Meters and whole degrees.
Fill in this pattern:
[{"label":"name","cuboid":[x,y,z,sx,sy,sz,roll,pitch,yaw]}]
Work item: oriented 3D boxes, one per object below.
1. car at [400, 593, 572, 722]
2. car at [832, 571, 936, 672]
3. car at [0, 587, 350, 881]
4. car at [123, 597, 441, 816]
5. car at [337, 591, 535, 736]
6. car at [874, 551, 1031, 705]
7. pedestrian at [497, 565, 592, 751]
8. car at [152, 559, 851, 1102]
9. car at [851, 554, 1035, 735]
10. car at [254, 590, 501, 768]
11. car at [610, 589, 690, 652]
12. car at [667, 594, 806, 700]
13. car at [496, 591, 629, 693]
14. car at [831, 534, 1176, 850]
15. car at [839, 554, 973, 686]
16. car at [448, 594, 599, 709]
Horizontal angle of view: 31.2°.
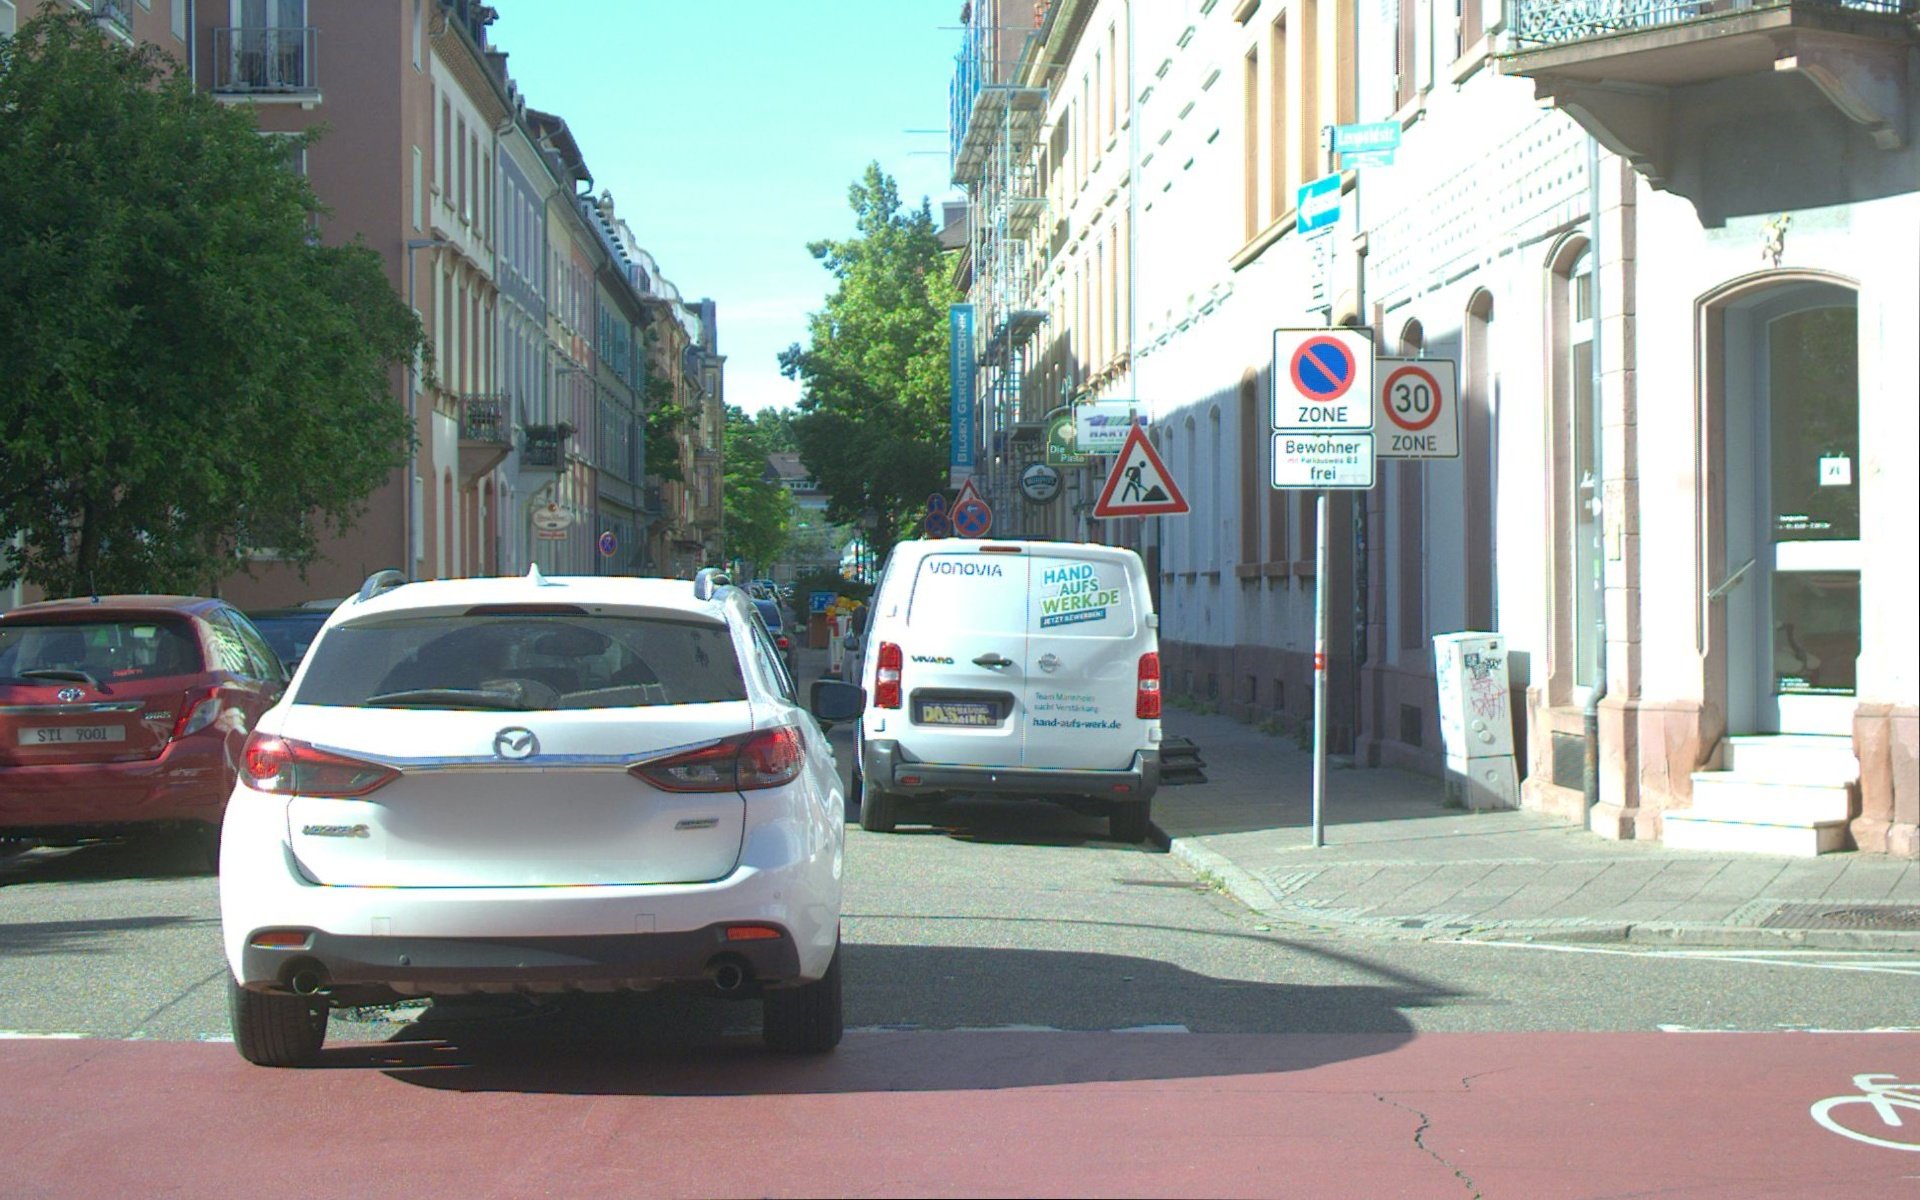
[{"label":"car","cuboid":[-5.746,0.665,41.987,1.653,1.495,3.763,0,0,-1]},{"label":"car","cuboid":[-1.425,0.385,64.768,1.894,1.853,3.995,0,0,-1]},{"label":"car","cuboid":[-4.659,0.694,19.726,1.684,1.495,3.807,-1,0,-1]},{"label":"car","cuboid":[-4.974,0.730,25.704,1.653,1.495,4.080,0,0,-1]},{"label":"car","cuboid":[-5.656,0.650,37.482,1.653,1.495,3.763,0,0,-1]},{"label":"car","cuboid":[-0.127,0.326,43.348,1.894,1.853,3.995,0,0,-1]},{"label":"pedestrian","cuboid":[-3.655,0.501,30.215,0.733,1.608,0.816,-1,0,-13]},{"label":"car","cuboid":[-1.292,0.640,11.214,1.831,1.452,3.962,0,-1,-1]},{"label":"car","cuboid":[-0.216,0.448,37.330,1.894,1.853,3.995,0,0,-1]},{"label":"car","cuboid":[-5.175,0.662,30.926,1.653,1.495,3.763,0,0,-1]},{"label":"car","cuboid":[-7.450,0.476,82.874,1.653,1.495,3.763,0,0,-1]},{"label":"car","cuboid":[-3.095,0.625,48.282,1.760,1.405,4.328,0,0,-1]},{"label":"car","cuboid":[-6.010,0.611,52.273,1.653,1.495,3.763,0,0,-1]},{"label":"car","cuboid":[0.175,0.550,23.425,1.894,1.853,5.015,2,0,-4]},{"label":"car","cuboid":[-0.845,0.297,54.249,1.894,1.853,3.995,-5,0,-1]},{"label":"car","cuboid":[-5.890,0.667,46.739,1.653,1.495,3.763,0,0,-1]}]
